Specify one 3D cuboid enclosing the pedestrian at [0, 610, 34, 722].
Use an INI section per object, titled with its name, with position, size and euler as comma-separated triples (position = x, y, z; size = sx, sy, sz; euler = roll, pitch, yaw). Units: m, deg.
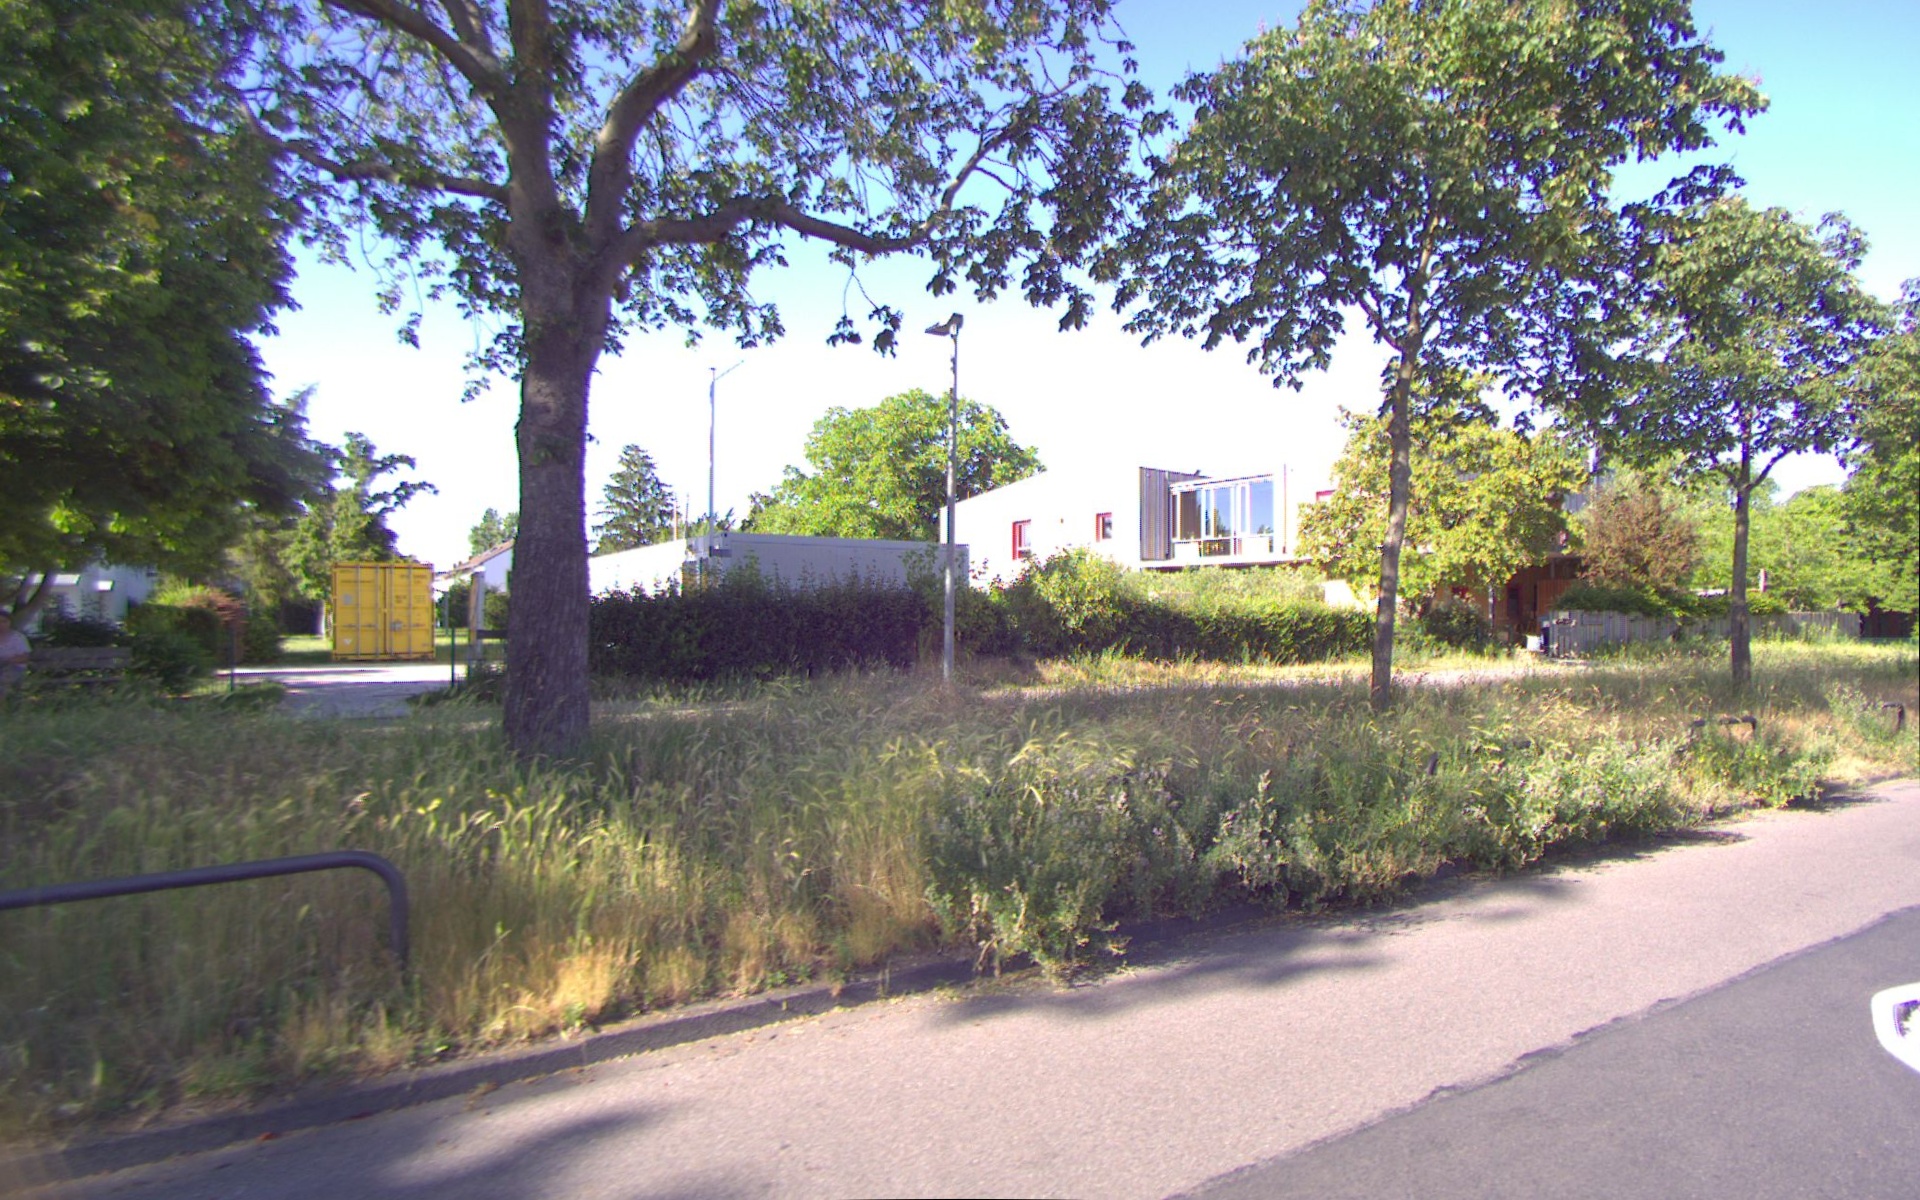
[pedestrian]
position = -10.558, 0.713, 10.982
size = 0.516, 1.173, 0.634
euler = 1, 2, -32
